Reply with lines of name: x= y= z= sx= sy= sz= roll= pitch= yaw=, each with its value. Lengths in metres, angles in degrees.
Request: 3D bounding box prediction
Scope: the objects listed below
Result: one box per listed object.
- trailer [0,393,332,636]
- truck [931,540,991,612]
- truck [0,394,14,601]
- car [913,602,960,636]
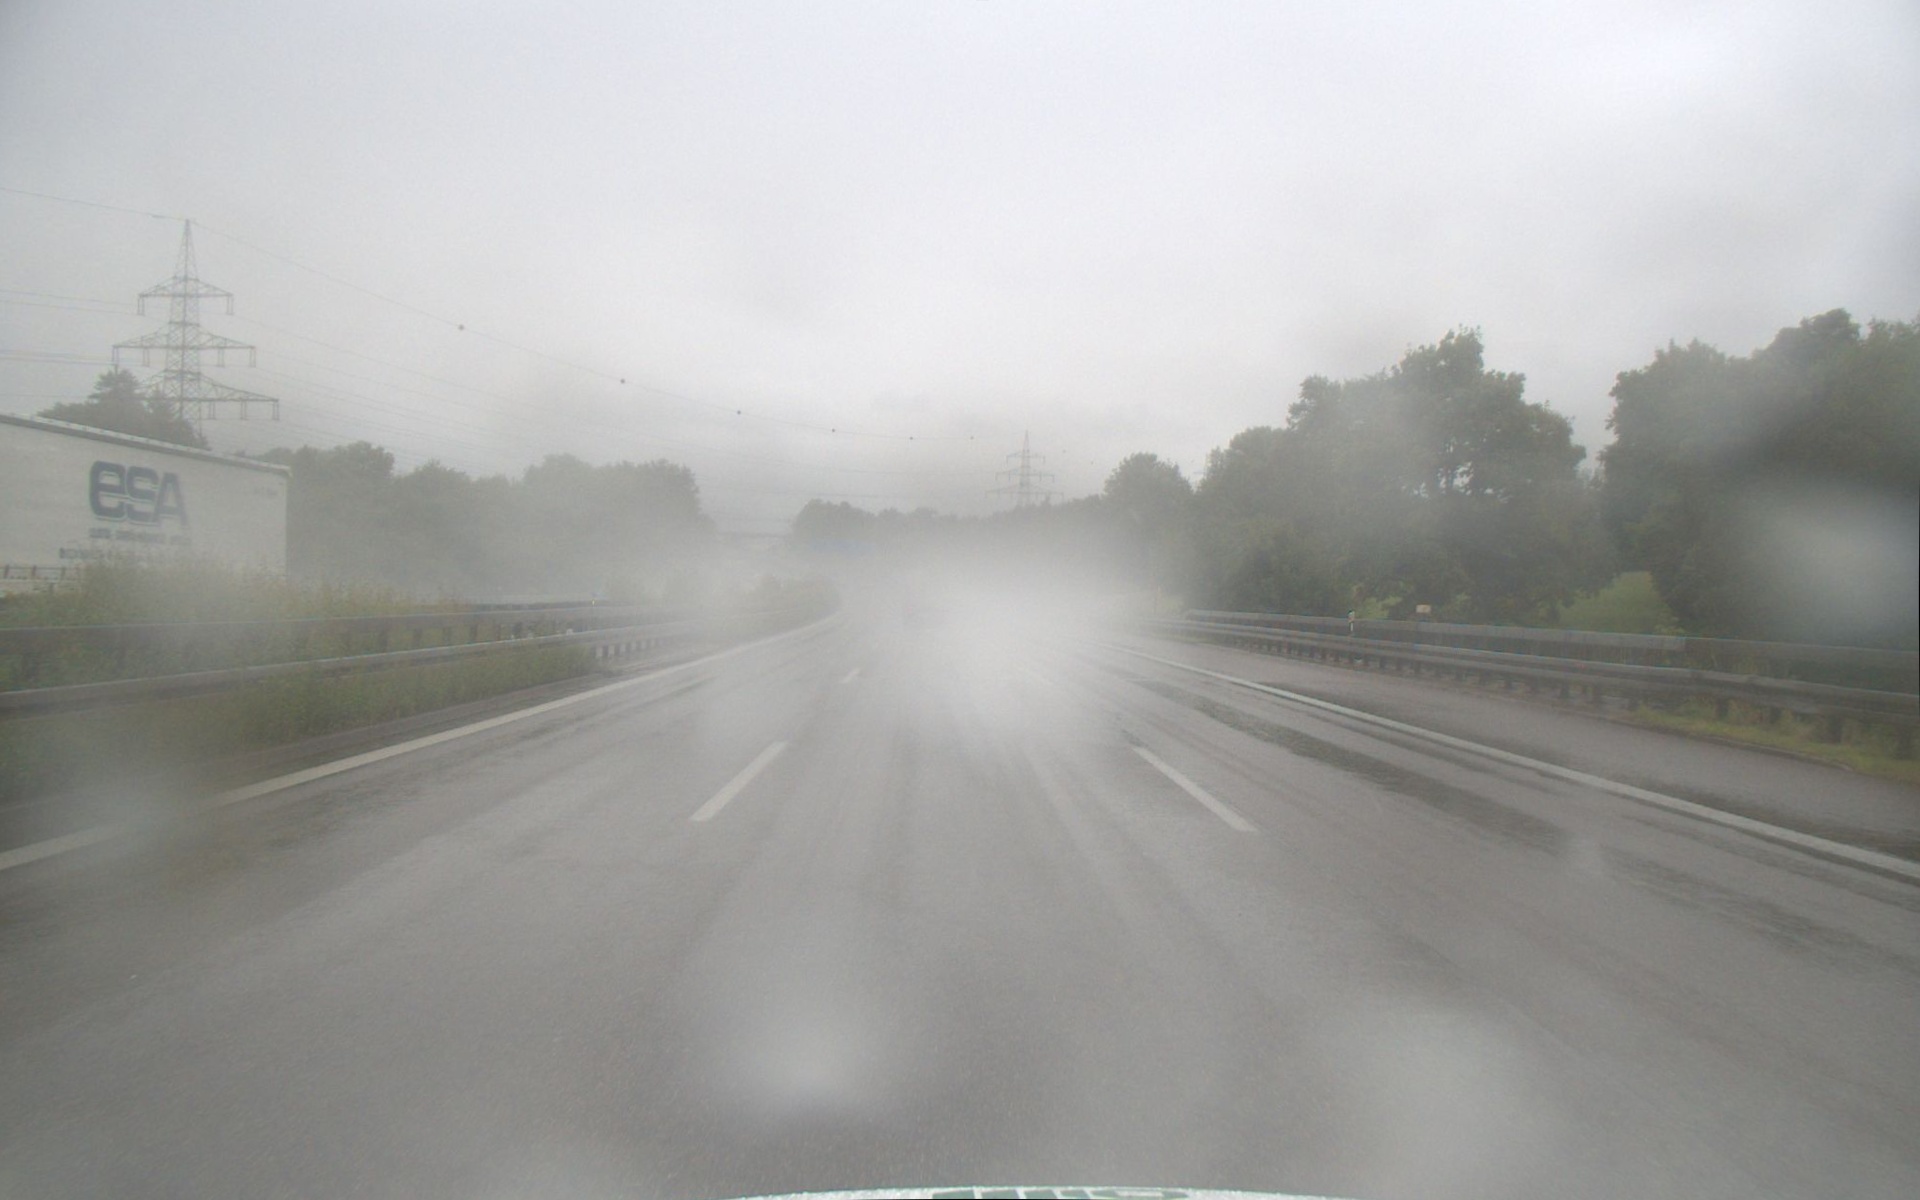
trailer: x=-16.193 y=-1.478 z=32.416 sx=2.285 sy=3.786 sz=13.928 roll=4 pitch=1 yaw=0
truck: x=0.175 y=-1.812 z=124.605 sx=4.169 sy=5.059 sz=17.343 roll=0 pitch=1 yaw=1
truck: x=-16.158 y=-1.376 z=23.651 sx=2.309 sy=3.772 sz=4.737 roll=4 pitch=0 yaw=0
car: x=-0.951 y=0.779 z=68.640 sx=1.713 sy=1.233 sz=4.001 roll=4 pitch=1 yaw=1
